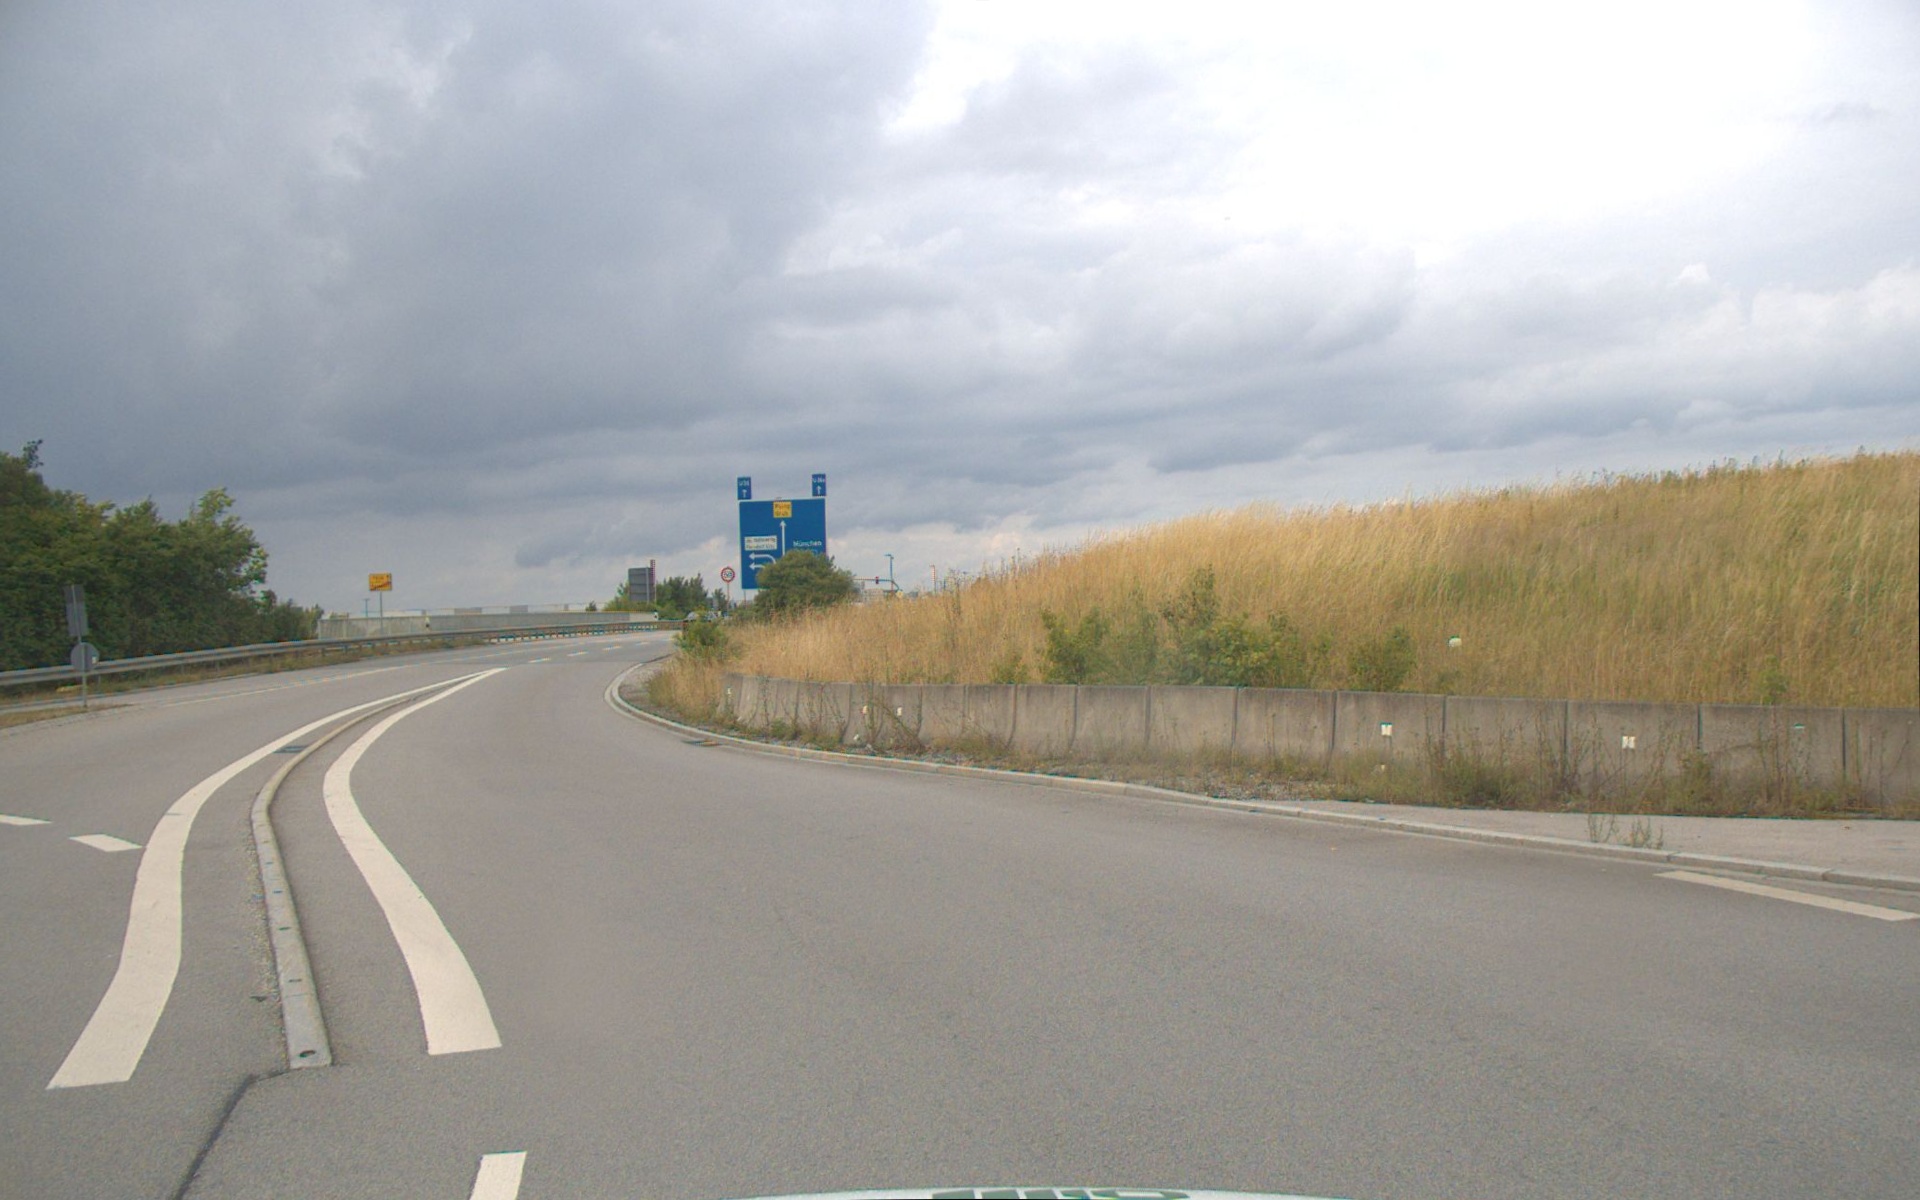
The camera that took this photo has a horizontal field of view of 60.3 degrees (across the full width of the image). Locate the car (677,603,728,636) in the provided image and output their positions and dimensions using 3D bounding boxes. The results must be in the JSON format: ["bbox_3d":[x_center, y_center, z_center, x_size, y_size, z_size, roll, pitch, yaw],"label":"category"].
[{"bbox_3d":[-12.368,0.941,79.699,1.486,1.511,3.618,-2,-1,6],"label":"car"}]
